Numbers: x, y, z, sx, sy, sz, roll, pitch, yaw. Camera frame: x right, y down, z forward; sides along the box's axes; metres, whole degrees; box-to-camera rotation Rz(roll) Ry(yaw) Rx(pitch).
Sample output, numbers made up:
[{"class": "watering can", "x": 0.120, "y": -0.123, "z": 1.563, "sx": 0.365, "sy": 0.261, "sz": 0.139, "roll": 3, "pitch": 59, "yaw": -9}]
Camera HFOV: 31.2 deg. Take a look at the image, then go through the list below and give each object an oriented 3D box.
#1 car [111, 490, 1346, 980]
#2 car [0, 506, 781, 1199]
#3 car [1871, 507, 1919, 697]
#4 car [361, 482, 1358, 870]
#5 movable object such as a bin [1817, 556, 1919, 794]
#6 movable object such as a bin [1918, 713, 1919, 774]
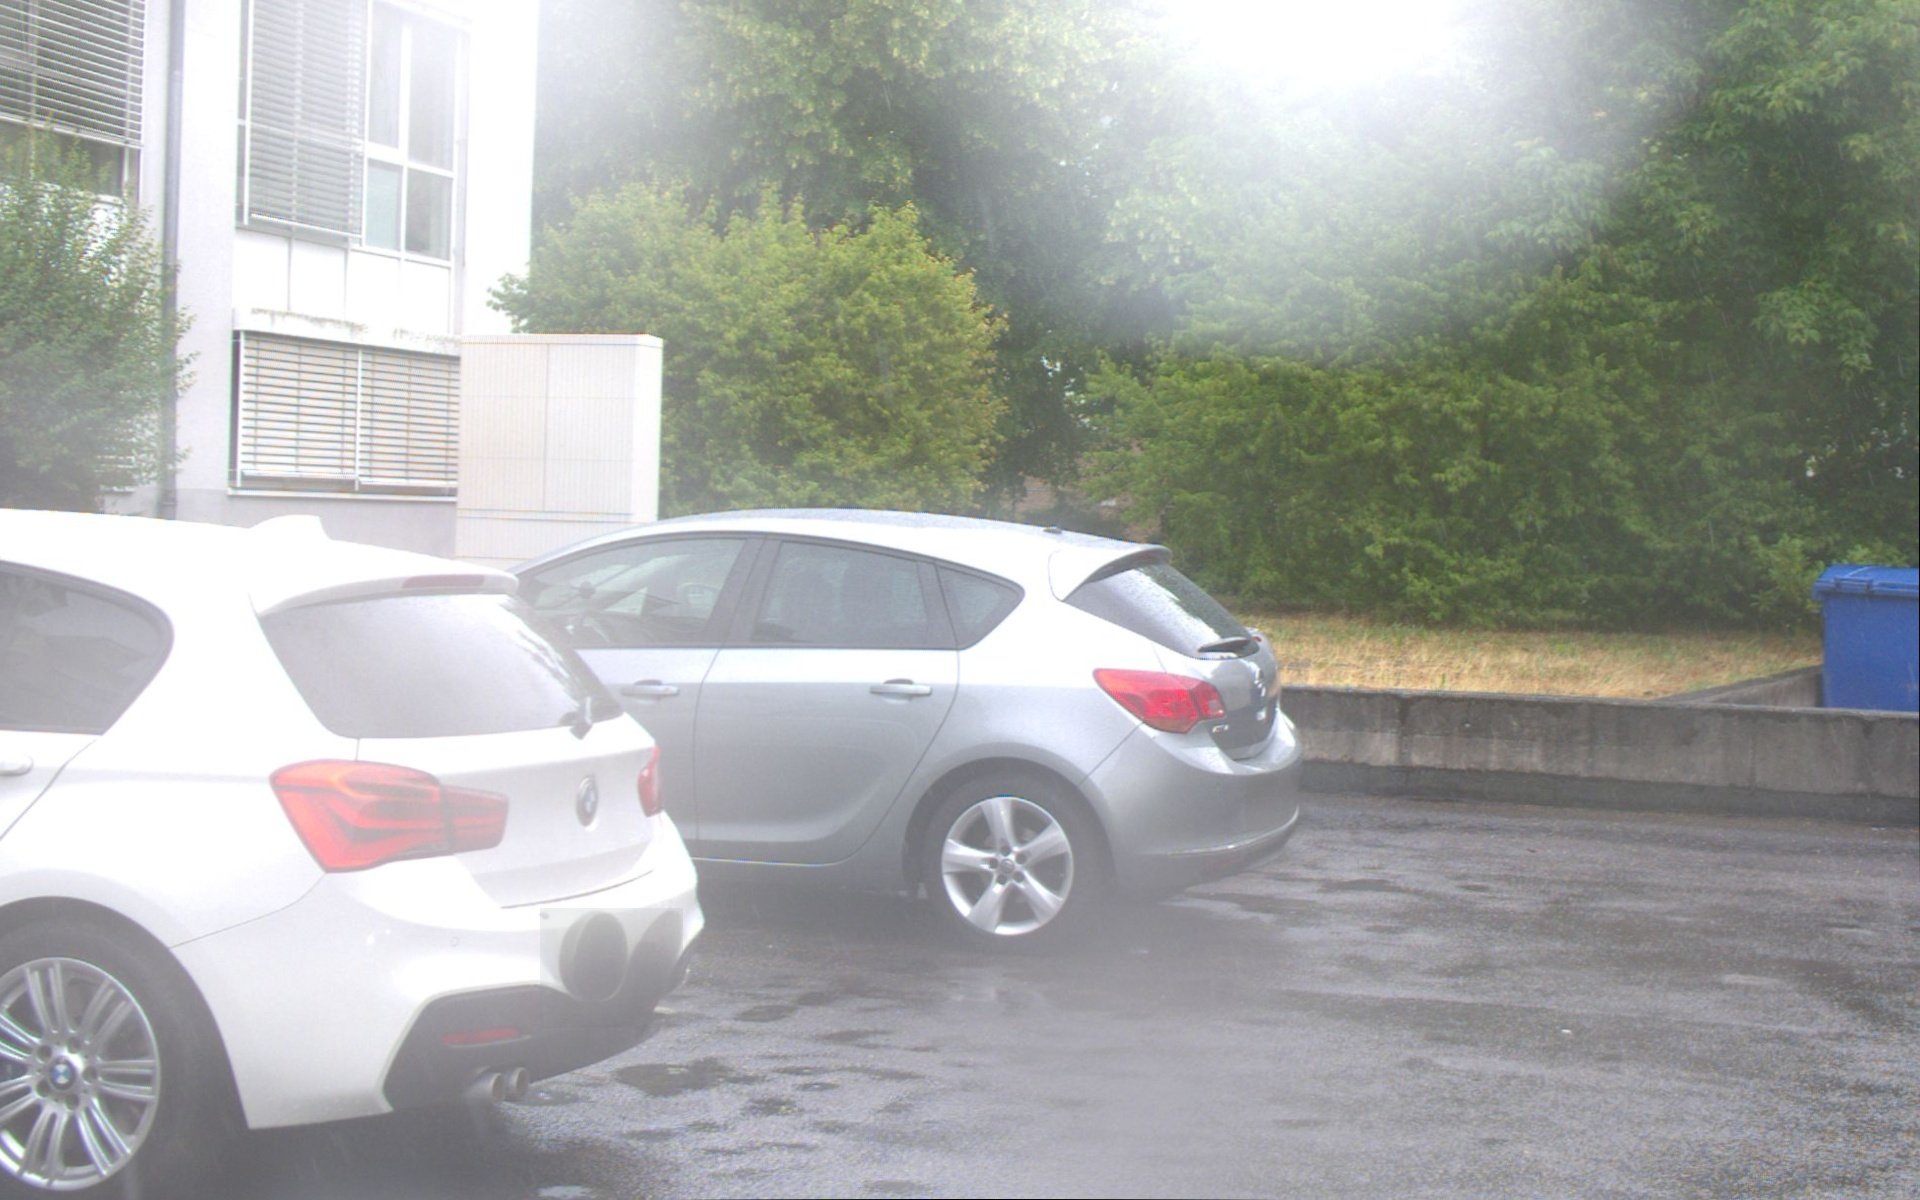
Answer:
[{"class": "car", "x": -0.822, "y": 0.399, "z": 12.784, "sx": 4.169, "sy": 1.478, "sz": 1.821, "roll": 3, "pitch": 2, "yaw": 18}, {"class": "car", "x": -2.692, "y": 0.480, "z": 8.046, "sx": 4.143, "sy": 1.429, "sz": 1.752, "roll": 3, "pitch": 1, "yaw": 18}, {"class": "car", "x": 12.335, "y": 0.064, "z": 36.623, "sx": 4.786, "sy": 2.007, "sz": 1.998, "roll": 2, "pitch": 2, "yaw": 24}, {"class": "car", "x": -0.442, "y": 0.274, "z": 15.933, "sx": 4.170, "sy": 1.328, "sz": 1.820, "roll": 5, "pitch": 3, "yaw": 19}, {"class": "movable object such as a bin", "x": 5.894, "y": 0.453, "z": 20.653, "sx": 1.204, "sy": 1.332, "sz": 1.115, "roll": 4, "pitch": 4, "yaw": 23}, {"class": "movable object such as a bin", "x": 6.858, "y": 0.451, "z": 22.025, "sx": 1.223, "sy": 1.332, "sz": 1.005, "roll": 3, "pitch": 3, "yaw": 23}]
